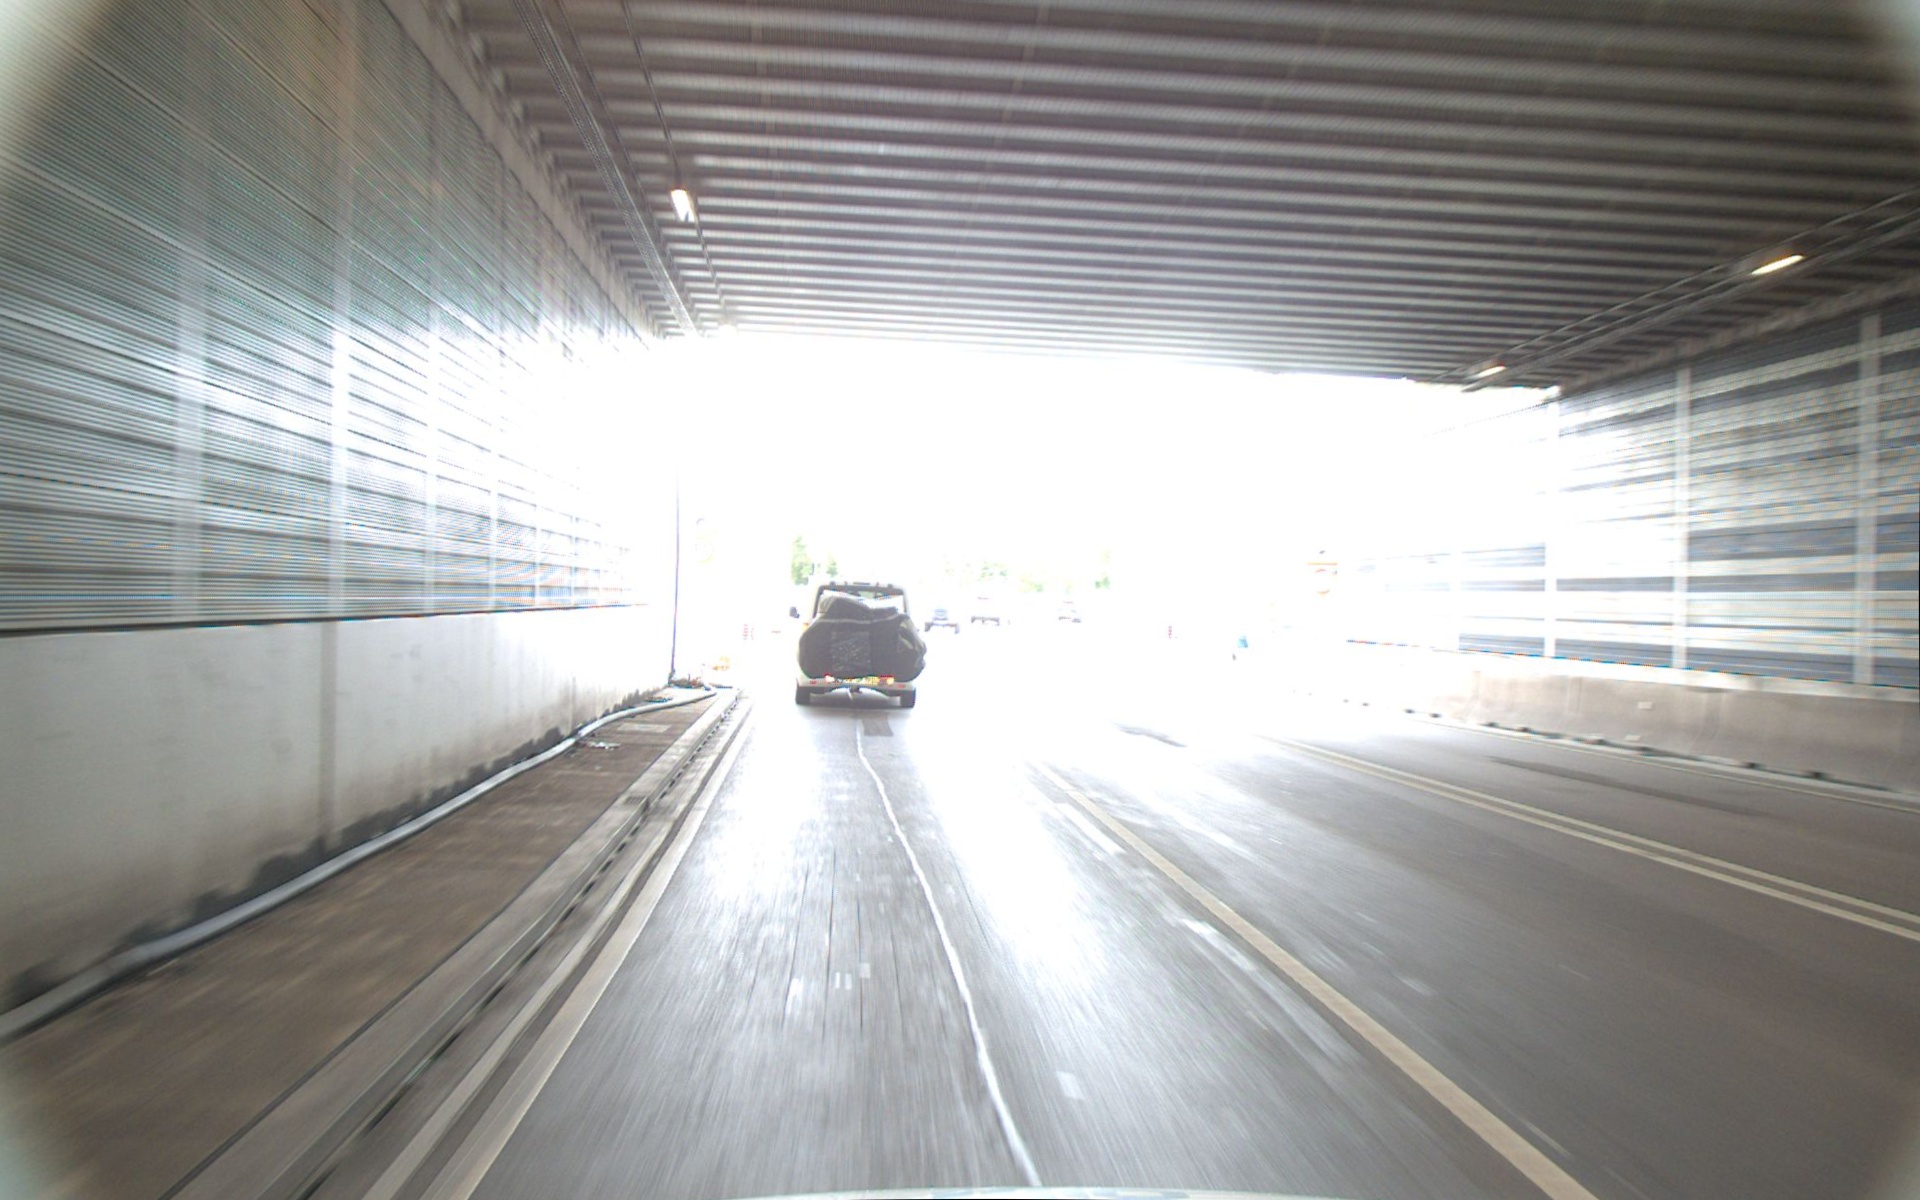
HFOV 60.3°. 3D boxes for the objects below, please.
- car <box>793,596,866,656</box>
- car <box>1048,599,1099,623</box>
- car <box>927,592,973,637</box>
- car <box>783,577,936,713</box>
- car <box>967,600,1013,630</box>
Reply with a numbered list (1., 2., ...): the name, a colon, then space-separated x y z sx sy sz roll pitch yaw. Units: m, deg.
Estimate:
1. car: -3.406 0.642 43.149 1.779 1.459 4.061 1 0 -5
2. car: 7.383 0.721 107.276 1.955 1.495 3.995 0 0 27
3. car: -0.476 0.622 74.204 1.953 1.892 3.999 2 0 -1
4. car: -1.707 0.626 25.992 1.956 1.891 5.630 0 0 -8
5. car: 1.678 0.832 91.667 1.969 1.514 4.069 2 1 9
